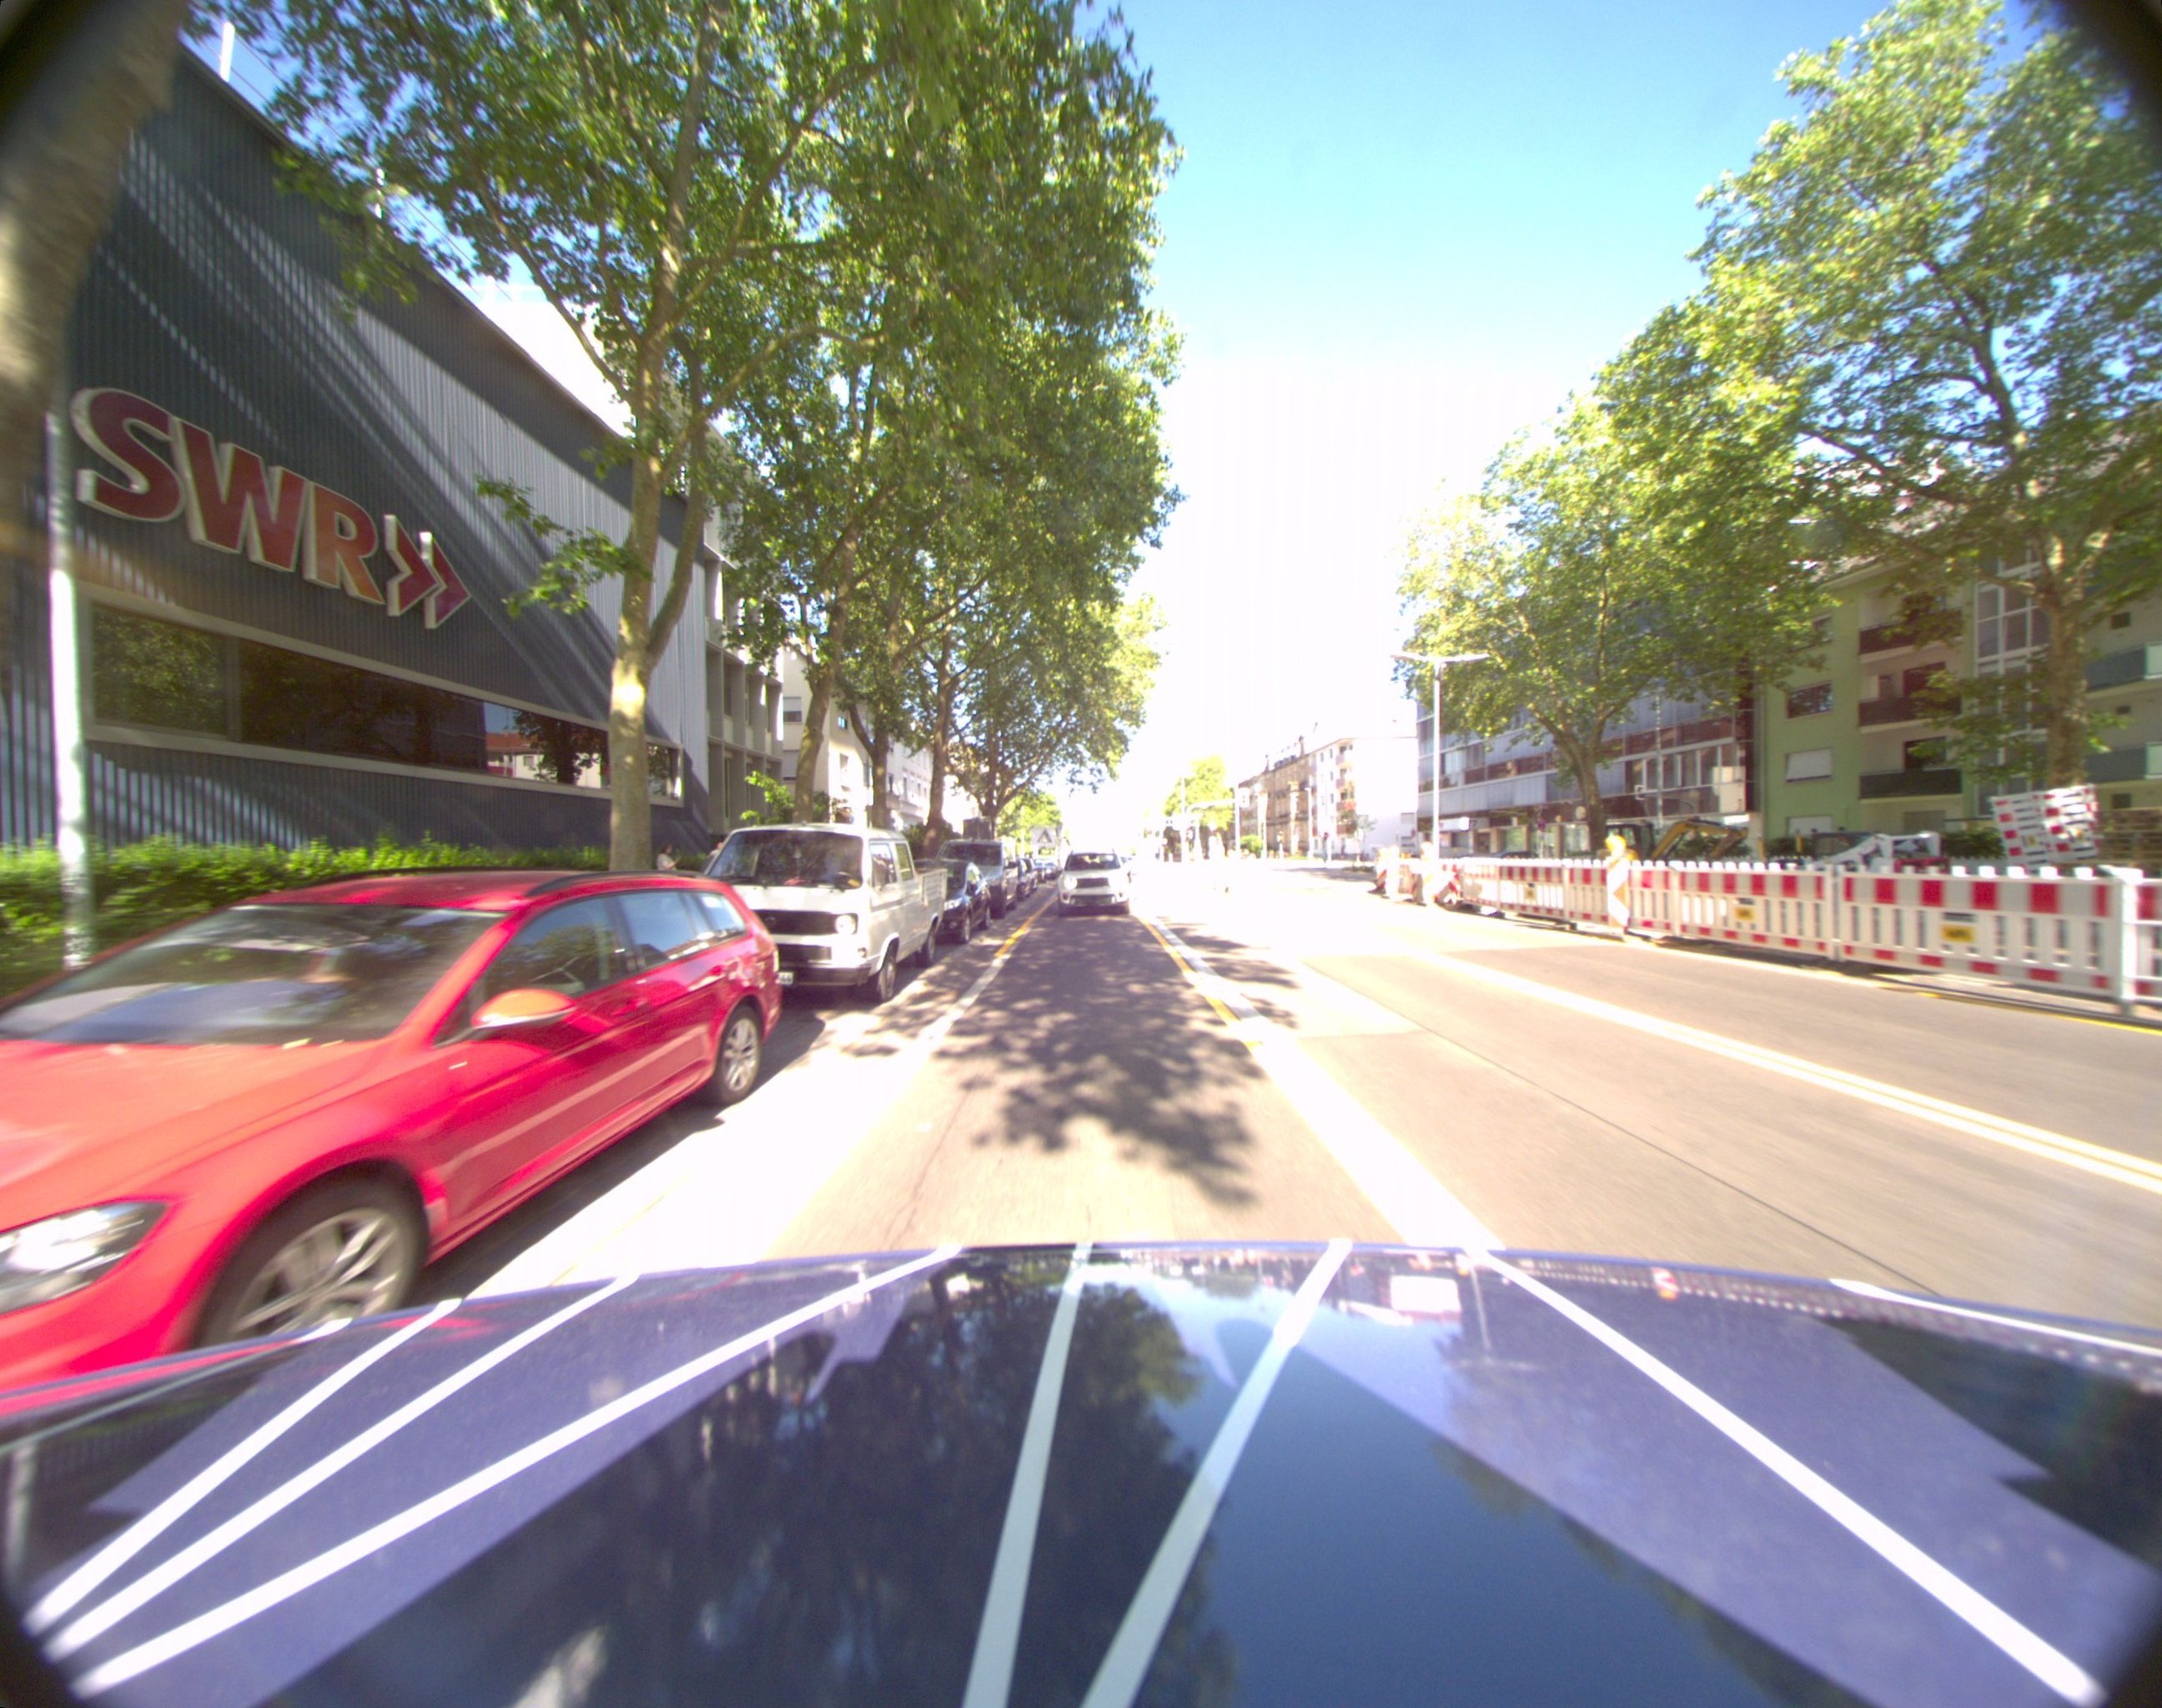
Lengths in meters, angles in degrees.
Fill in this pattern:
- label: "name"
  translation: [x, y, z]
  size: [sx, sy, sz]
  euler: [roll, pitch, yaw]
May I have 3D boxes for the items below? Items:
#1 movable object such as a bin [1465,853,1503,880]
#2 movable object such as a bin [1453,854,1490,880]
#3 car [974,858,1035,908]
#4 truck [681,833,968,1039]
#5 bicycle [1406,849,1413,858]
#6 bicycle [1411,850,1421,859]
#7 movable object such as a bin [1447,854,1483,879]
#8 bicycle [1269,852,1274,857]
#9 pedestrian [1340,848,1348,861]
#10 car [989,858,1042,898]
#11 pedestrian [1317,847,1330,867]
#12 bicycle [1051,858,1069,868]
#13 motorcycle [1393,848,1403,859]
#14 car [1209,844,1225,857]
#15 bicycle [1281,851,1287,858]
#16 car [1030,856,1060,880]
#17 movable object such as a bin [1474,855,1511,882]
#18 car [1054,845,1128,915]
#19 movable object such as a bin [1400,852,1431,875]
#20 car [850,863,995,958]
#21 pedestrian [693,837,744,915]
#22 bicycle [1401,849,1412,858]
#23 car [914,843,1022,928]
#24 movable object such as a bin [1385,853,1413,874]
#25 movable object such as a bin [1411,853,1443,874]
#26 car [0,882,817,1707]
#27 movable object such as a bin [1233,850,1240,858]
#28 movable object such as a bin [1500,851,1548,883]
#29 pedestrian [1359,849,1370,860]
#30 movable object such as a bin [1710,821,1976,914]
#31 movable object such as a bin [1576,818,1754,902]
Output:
- label: "movable object such as a bin"
  translation: [20.620, 0.646, 38.898]
  size: [1.413, 1.330, 1.069]
  euler: [-1, 1, 2]
- label: "movable object such as a bin"
  translation: [20.515, 0.660, 39.933]
  size: [1.413, 1.330, 0.936]
  euler: [-1, 1, 3]
- label: "car"
  translation: [-2.635, 0.957, 26.933]
  size: [1.661, 1.531, 4.128]
  euler: [-2, 0, 0]
- label: "truck"
  translation: [-2.667, 0.729, 9.147]
  size: [1.881, 1.870, 4.453]
  euler: [0, 1, 1]
- label: "bicycle"
  translation: [35.197, -0.028, 81.431]
  size: [0.507, 0.972, 1.887]
  euler: [-1, 0, 17]
- label: "bicycle"
  translation: [35.758, 0.018, 81.020]
  size: [0.478, 0.942, 1.953]
  euler: [-1, 0, 9]
- label: "movable object such as a bin"
  translation: [20.717, 0.661, 41.017]
  size: [1.413, 1.330, 1.157]
  euler: [-1, 1, 3]
- label: "bicycle"
  translation: [27.713, 0.081, 110.617]
  size: [0.299, 0.766, 1.414]
  euler: [-1, 0, 1]
- label: "pedestrian"
  translation: [29.792, 0.018, 86.051]
  size: [0.601, 1.488, 0.695]
  euler: [-1, 1, 4]
- label: "car"
  translation: [-2.681, 0.948, 31.925]
  size: [1.768, 1.499, 4.250]
  euler: [-1, 0, 0]
- label: "pedestrian"
  translation: [20.657, 0.225, 64.757]
  size: [0.866, 1.701, 1.013]
  euler: [-1, 0, 8]
- label: "bicycle"
  translation: [-2.453, 1.023, 88.144]
  size: [1.967, 1.019, 0.605]
  euler: [-3, 0, 0]
- label: "motorcycle"
  translation: [34.656, -0.091, 83.130]
  size: [0.612, 1.135, 1.784]
  euler: [-1, 0, 9]
- label: "car"
  translation: [26.113, -0.607, 145.809]
  size: [2.250, 2.431, 5.288]
  euler: [1, -1, 1]
- label: "bicycle"
  translation: [27.632, 0.085, 103.214]
  size: [0.305, 0.952, 1.940]
  euler: [-1, 0, 1]
- label: "car"
  translation: [-2.368, 0.912, 51.150]
  size: [1.857, 1.471, 4.941]
  euler: [-1, 0, -1]
- label: "movable object such as a bin"
  translation: [20.354, 0.720, 37.599]
  size: [0.982, 1.263, 1.540]
  euler: [-1, 0, 0]
- label: "car"
  translation: [0.324, 0.660, 20.104]
  size: [1.743, 1.647, 3.691]
  euler: [-1, -1, 3]
- label: "movable object such as a bin"
  translation: [21.132, 0.588, 48.021]
  size: [1.217, 1.380, 1.855]
  euler: [-1, 1, 2]
- label: "car"
  translation: [-2.832, 0.952, 14.498]
  size: [1.752, 1.469, 4.101]
  euler: [0, 1, 2]
- label: "pedestrian"
  translation: [-7.901, 0.484, 16.586]
  size: [0.707, 1.639, 0.675]
  euler: [-4, -2, -2]
- label: "bicycle"
  translation: [36.083, -0.058, 84.244]
  size: [0.575, 0.963, 1.737]
  euler: [-1, 0, 5]
- label: "car"
  translation: [-2.821, 0.706, 20.242]
  size: [2.031, 1.935, 5.272]
  euler: [-1, 0, 0]
- label: "movable object such as a bin"
  translation: [21.057, 0.612, 50.358]
  size: [1.116, 1.380, 1.855]
  euler: [-1, 1, 2]
- label: "movable object such as a bin"
  translation: [21.078, 0.578, 46.283]
  size: [1.397, 1.196, 1.241]
  euler: [-1, 1, 3]
- label: "car"
  translation: [-3.023, 0.990, 3.588]
  size: [1.826, 1.499, 4.677]
  euler: [0, 1, 1]
- label: "movable object such as a bin"
  translation: [27.068, -0.039, 132.551]
  size: [0.895, 1.352, 1.474]
  euler: [1, -1, 2]
- label: "movable object such as a bin"
  translation: [20.853, 0.605, 35.770]
  size: [1.637, 1.414, 1.260]
  euler: [-2, 1, -25]
- label: "pedestrian"
  translation: [30.630, 0.037, 82.053]
  size: [0.719, 1.146, 0.788]
  euler: [-1, 1, -12]
- label: "movable object such as a bin"
  translation: [20.857, 0.314, 21.290]
  size: [1.998, 2.265, 5.599]
  euler: [0, 1, 3]
- label: "movable object such as a bin"
  translation: [20.798, 0.172, 27.470]
  size: [2.152, 2.690, 5.353]
  euler: [-1, 0, -2]
